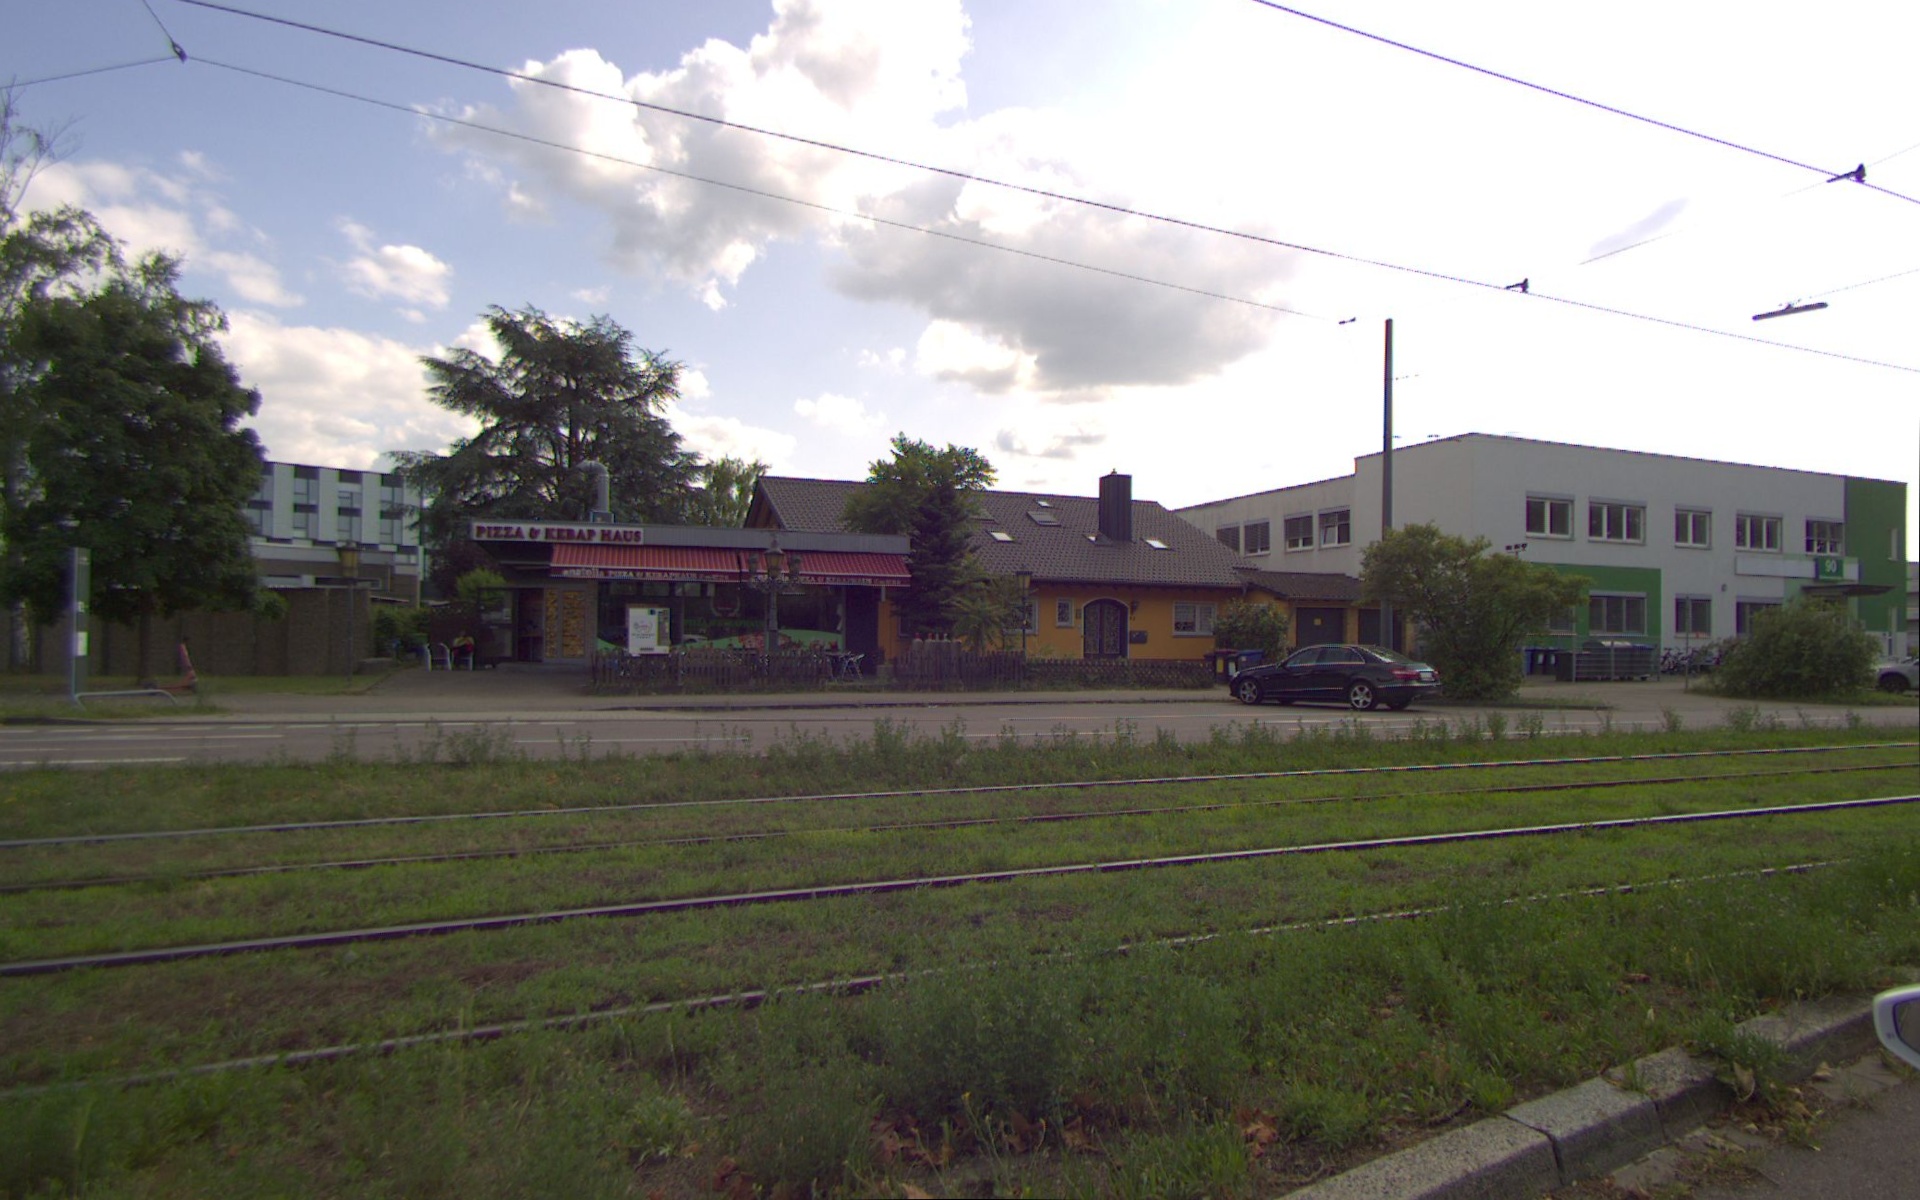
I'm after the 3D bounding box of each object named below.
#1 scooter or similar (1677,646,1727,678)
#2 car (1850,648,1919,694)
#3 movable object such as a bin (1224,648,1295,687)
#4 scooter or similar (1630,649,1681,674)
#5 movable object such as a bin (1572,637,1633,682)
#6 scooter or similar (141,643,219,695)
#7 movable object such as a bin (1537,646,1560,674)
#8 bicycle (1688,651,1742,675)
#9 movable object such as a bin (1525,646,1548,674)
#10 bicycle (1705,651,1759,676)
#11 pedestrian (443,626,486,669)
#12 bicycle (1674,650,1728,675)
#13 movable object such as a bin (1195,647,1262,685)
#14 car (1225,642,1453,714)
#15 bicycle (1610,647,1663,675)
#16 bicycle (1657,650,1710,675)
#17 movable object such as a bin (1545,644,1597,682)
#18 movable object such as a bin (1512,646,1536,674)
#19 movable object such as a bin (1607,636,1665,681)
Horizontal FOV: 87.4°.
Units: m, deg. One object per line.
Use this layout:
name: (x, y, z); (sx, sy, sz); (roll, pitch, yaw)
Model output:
scooter or similar: (29.237, 2.424, 39.596); (1.072, 1.171, 1.308); (2, 0, 8)
car: (32.604, 2.378, 33.488); (4.166, 1.501, 1.877); (-1, -2, 36)
movable object such as a bin: (8.942, 2.010, 30.015); (1.594, 1.115, 1.252); (1, -2, -22)
scooter or similar: (28.473, 2.522, 41.142); (0.452, 0.911, 1.733); (2, 0, -20)
movable object such as a bin: (22.993, 2.100, 35.952); (1.685, 1.540, 1.005); (0, 0, -19)
scooter or similar: (-16.260, 1.440, 20.964); (1.201, 1.047, 0.427); (1, -1, -11)
movable object such as a bin: (23.088, 2.354, 39.408); (0.556, 1.056, 0.567); (0, 0, -20)
bicycle: (31.788, 2.647, 42.315); (0.452, 0.911, 1.855); (2, 0, -20)
movable object such as a bin: (22.479, 2.347, 39.169); (0.556, 1.056, 0.567); (0, 0, -20)
bicycle: (32.773, 2.682, 42.649); (0.452, 0.911, 1.855); (2, 0, -20)
pedestrian: (-13.758, 1.314, 27.920); (0.917, 1.161, 1.152); (1, -2, -19)
bicycle: (30.958, 2.610, 42.002); (0.452, 0.911, 1.855); (2, 0, -20)
movable object such as a bin: (8.368, 2.052, 31.361); (1.594, 1.107, 1.252); (1, -2, -22)
car: (8.611, 1.740, 23.159); (1.868, 1.425, 4.597); (4, -4, -40)
bicycle: (27.183, 2.443, 40.393); (0.452, 0.999, 1.855); (2, 0, -20)
bicycle: (29.917, 2.564, 41.568); (0.452, 0.911, 1.855); (2, 0, -20)
movable object such as a bin: (21.564, 2.216, 35.448); (1.236, 1.250, 1.005); (0, 0, -19)
movable object such as a bin: (21.868, 2.320, 38.964); (0.556, 1.056, 0.567); (0, 0, -20)
movable object such as a bin: (24.564, 2.111, 36.519); (1.579, 1.540, 1.005); (0, 0, -19)
